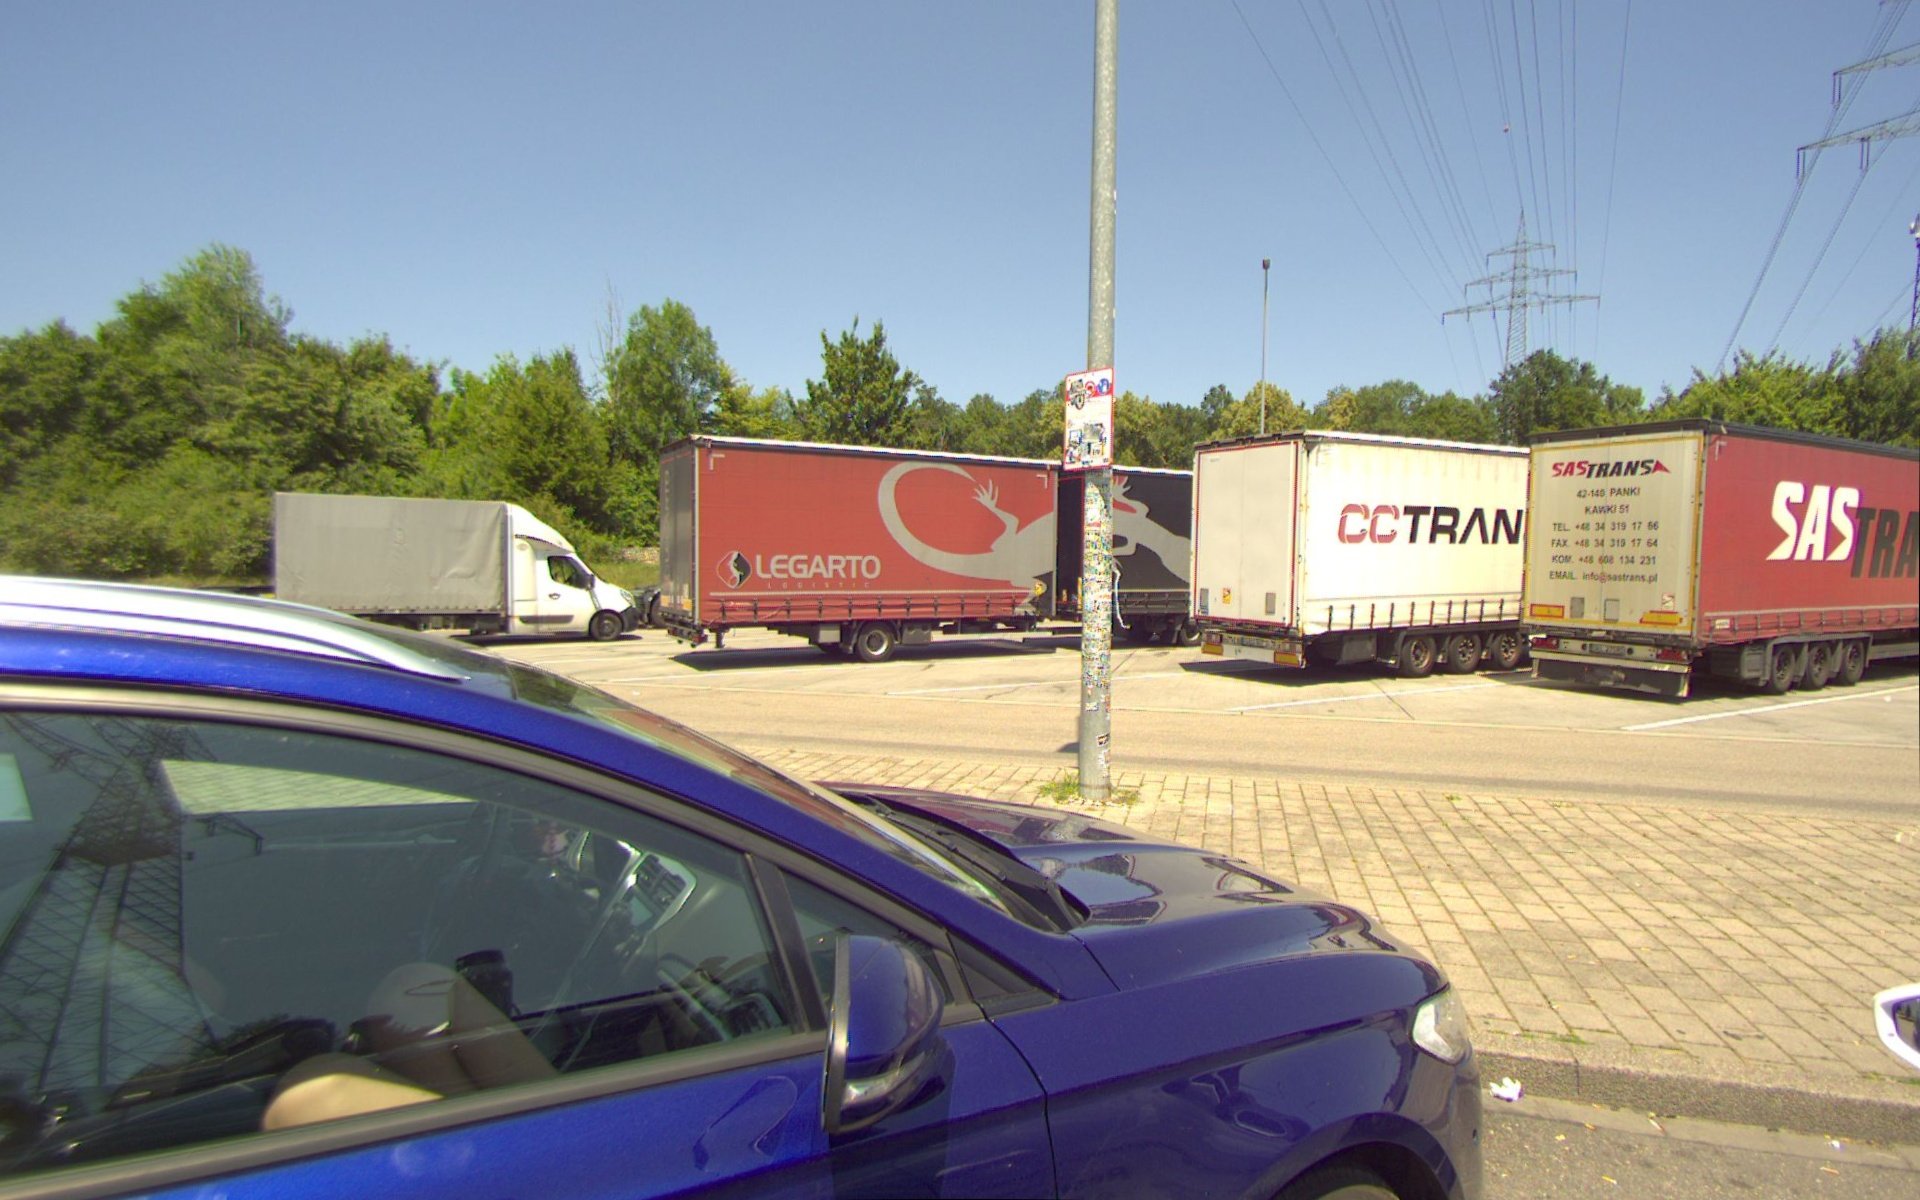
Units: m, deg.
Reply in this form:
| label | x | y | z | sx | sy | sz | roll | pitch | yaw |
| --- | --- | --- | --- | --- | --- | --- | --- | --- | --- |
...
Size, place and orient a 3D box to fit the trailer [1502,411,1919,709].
| label | x | y | z | sx | sy | sz | roll | pitch | yaw |
| --- | --- | --- | --- | --- | --- | --- | --- | --- | --- |
| trailer | 15.443 | -0.672 | 18.600 | 13.599 | 4.127 | 2.807 | -1 | 3 | -31 |

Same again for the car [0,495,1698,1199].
| label | x | y | z | sx | sy | sz | roll | pitch | yaw |
| --- | --- | --- | --- | --- | --- | --- | --- | --- | --- |
| car | -0.996 | 0.652 | 1.442 | 4.522 | 1.491 | 1.743 | 0 | 2 | -32 |

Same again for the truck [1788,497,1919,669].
| label | x | y | z | sx | sy | sz | roll | pitch | yaw |
| --- | --- | --- | --- | --- | --- | --- | --- | --- | --- |
| truck | 21.236 | -0.398 | 22.037 | 5.903 | 3.409 | 2.798 | -1 | 3 | -30 |

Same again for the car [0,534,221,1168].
| label | x | y | z | sx | sy | sz | roll | pitch | yaw |
| --- | --- | --- | --- | --- | --- | --- | --- | --- | --- |
| car | -4.437 | 0.579 | 2.079 | 4.522 | 1.526 | 1.743 | 0 | 2 | -32 |

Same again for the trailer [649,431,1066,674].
| label | x | y | z | sx | sy | sz | roll | pitch | yaw |
| --- | --- | --- | --- | --- | --- | --- | --- | --- | --- |
| trailer | -1.904 | -0.899 | 20.321 | 8.007 | 4.127 | 2.693 | -1 | 3 | -30 |

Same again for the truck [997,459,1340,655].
| label | x | y | z | sx | sy | sz | roll | pitch | yaw |
| --- | --- | --- | --- | --- | --- | --- | --- | --- | --- |
| truck | 5.249 | -0.993 | 24.529 | 8.586 | 4.127 | 2.693 | -1 | 3 | -30 |

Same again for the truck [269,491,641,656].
| label | x | y | z | sx | sy | sz | roll | pitch | yaw |
| --- | --- | --- | --- | --- | --- | --- | --- | --- | --- |
| truck | -11.261 | -0.618 | 22.985 | 7.187 | 3.289 | 2.694 | -1 | 3 | -29 |

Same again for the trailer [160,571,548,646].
| label | x | y | z | sx | sy | sz | roll | pitch | yaw |
| --- | --- | --- | --- | --- | --- | --- | --- | --- | --- |
| trailer | -14.773 | 0.110 | 25.224 | 8.007 | 1.648 | 2.199 | -1 | 3 | -30 |

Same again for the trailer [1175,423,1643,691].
| label | x | y | z | sx | sy | sz | roll | pitch | yaw |
| --- | --- | --- | --- | --- | --- | --- | --- | --- | --- |
| trailer | 8.950 | -0.766 | 19.334 | 10.264 | 4.158 | 2.693 | -1 | 3 | -30 |
